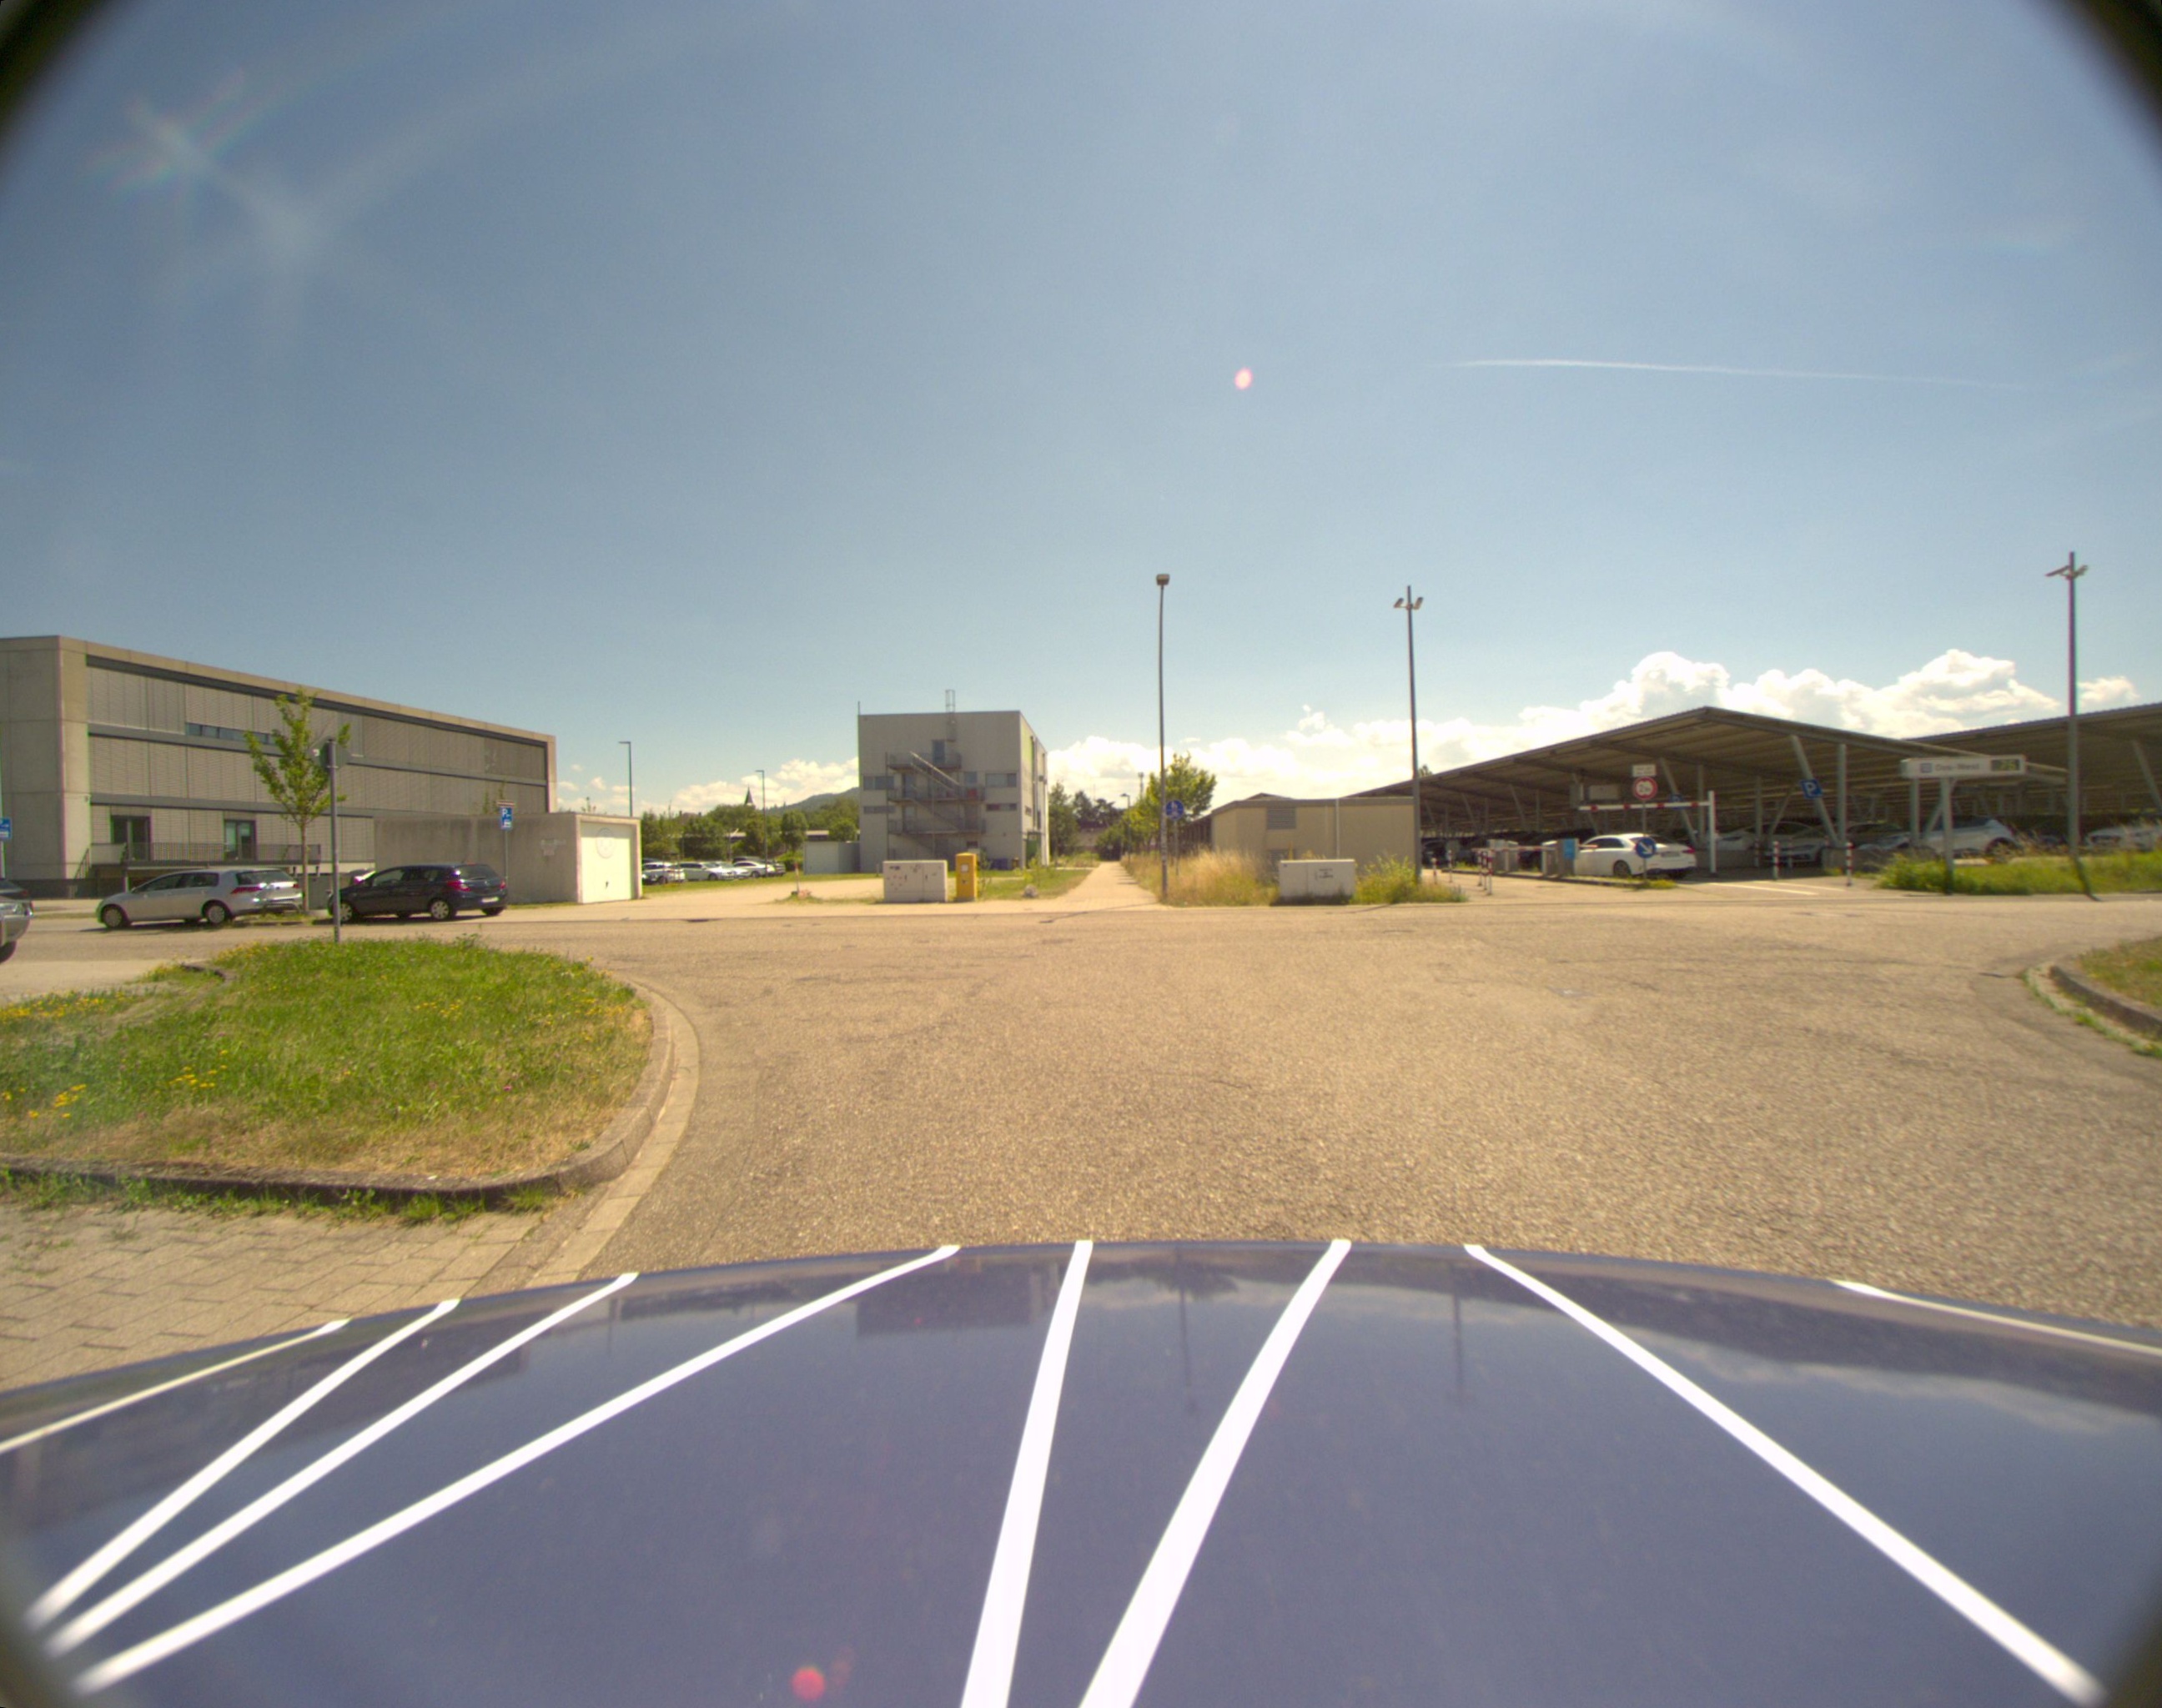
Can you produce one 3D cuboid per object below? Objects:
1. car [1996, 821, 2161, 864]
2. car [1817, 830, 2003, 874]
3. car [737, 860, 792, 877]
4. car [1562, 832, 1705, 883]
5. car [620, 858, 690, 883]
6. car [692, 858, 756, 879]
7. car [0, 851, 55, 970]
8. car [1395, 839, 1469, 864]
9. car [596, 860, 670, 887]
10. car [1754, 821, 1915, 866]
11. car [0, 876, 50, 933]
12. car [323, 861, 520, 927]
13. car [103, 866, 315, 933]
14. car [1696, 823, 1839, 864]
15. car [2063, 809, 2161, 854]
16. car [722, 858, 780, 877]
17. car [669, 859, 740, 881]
[{"bbox_3d":[36.348,-0.401,27.748,3.773,1.428,1.723,-1,0,1],"label":"car"},{"bbox_3d":[25.311,-0.065,23.290,3.773,1.221,1.723,-1,0,1],"label":"car"},{"bbox_3d":[-27.630,1.261,66.462,4.053,1.379,1.659,-1,1,3],"label":"car"},{"bbox_3d":[16.922,0.099,23.518,1.722,1.428,3.776,-1,0,1],"label":"car"},{"bbox_3d":[-28.013,1.089,50.021,3.624,1.492,1.659,-1,1,3],"label":"car"},{"bbox_3d":[-27.214,1.087,57.954,4.053,1.458,1.659,-1,1,3],"label":"car"},{"bbox_3d":[-18.065,0.890,11.095,3.995,1.764,1.812,-2,-2,4],"label":"car"},{"bbox_3d":[21.651,-0.156,46.967,3.773,1.428,1.723,-1,0,1],"label":"car"},{"bbox_3d":[-28.034,1.208,47.641,3.624,1.526,1.659,-1,1,3],"label":"car"},{"bbox_3d":[25.663,-0.344,25.975,3.773,1.428,1.723,-1,0,1],"label":"car"},{"bbox_3d":[-30.519,1.416,20.337,3.624,1.461,1.658,-1,3,3],"label":"car"},{"bbox_3d":[-17.047,1.010,19.746,3.624,1.492,1.683,-1,3,3],"label":"car"},{"bbox_3d":[-22.825,1.165,19.986,3.625,1.492,1.658,-1,3,2],"label":"car"},{"bbox_3d":[25.755,-0.376,28.591,3.773,1.428,1.723,-1,0,1],"label":"car"},{"bbox_3d":[36.179,-0.770,25.661,3.773,1.428,1.723,-1,0,1],"label":"car"},{"bbox_3d":[-27.369,1.088,63.140,4.053,1.417,1.659,-1,1,3],"label":"car"},{"bbox_3d":[-27.567,1.196,55.681,4.367,1.458,1.709,-1,1,3],"label":"car"}]
